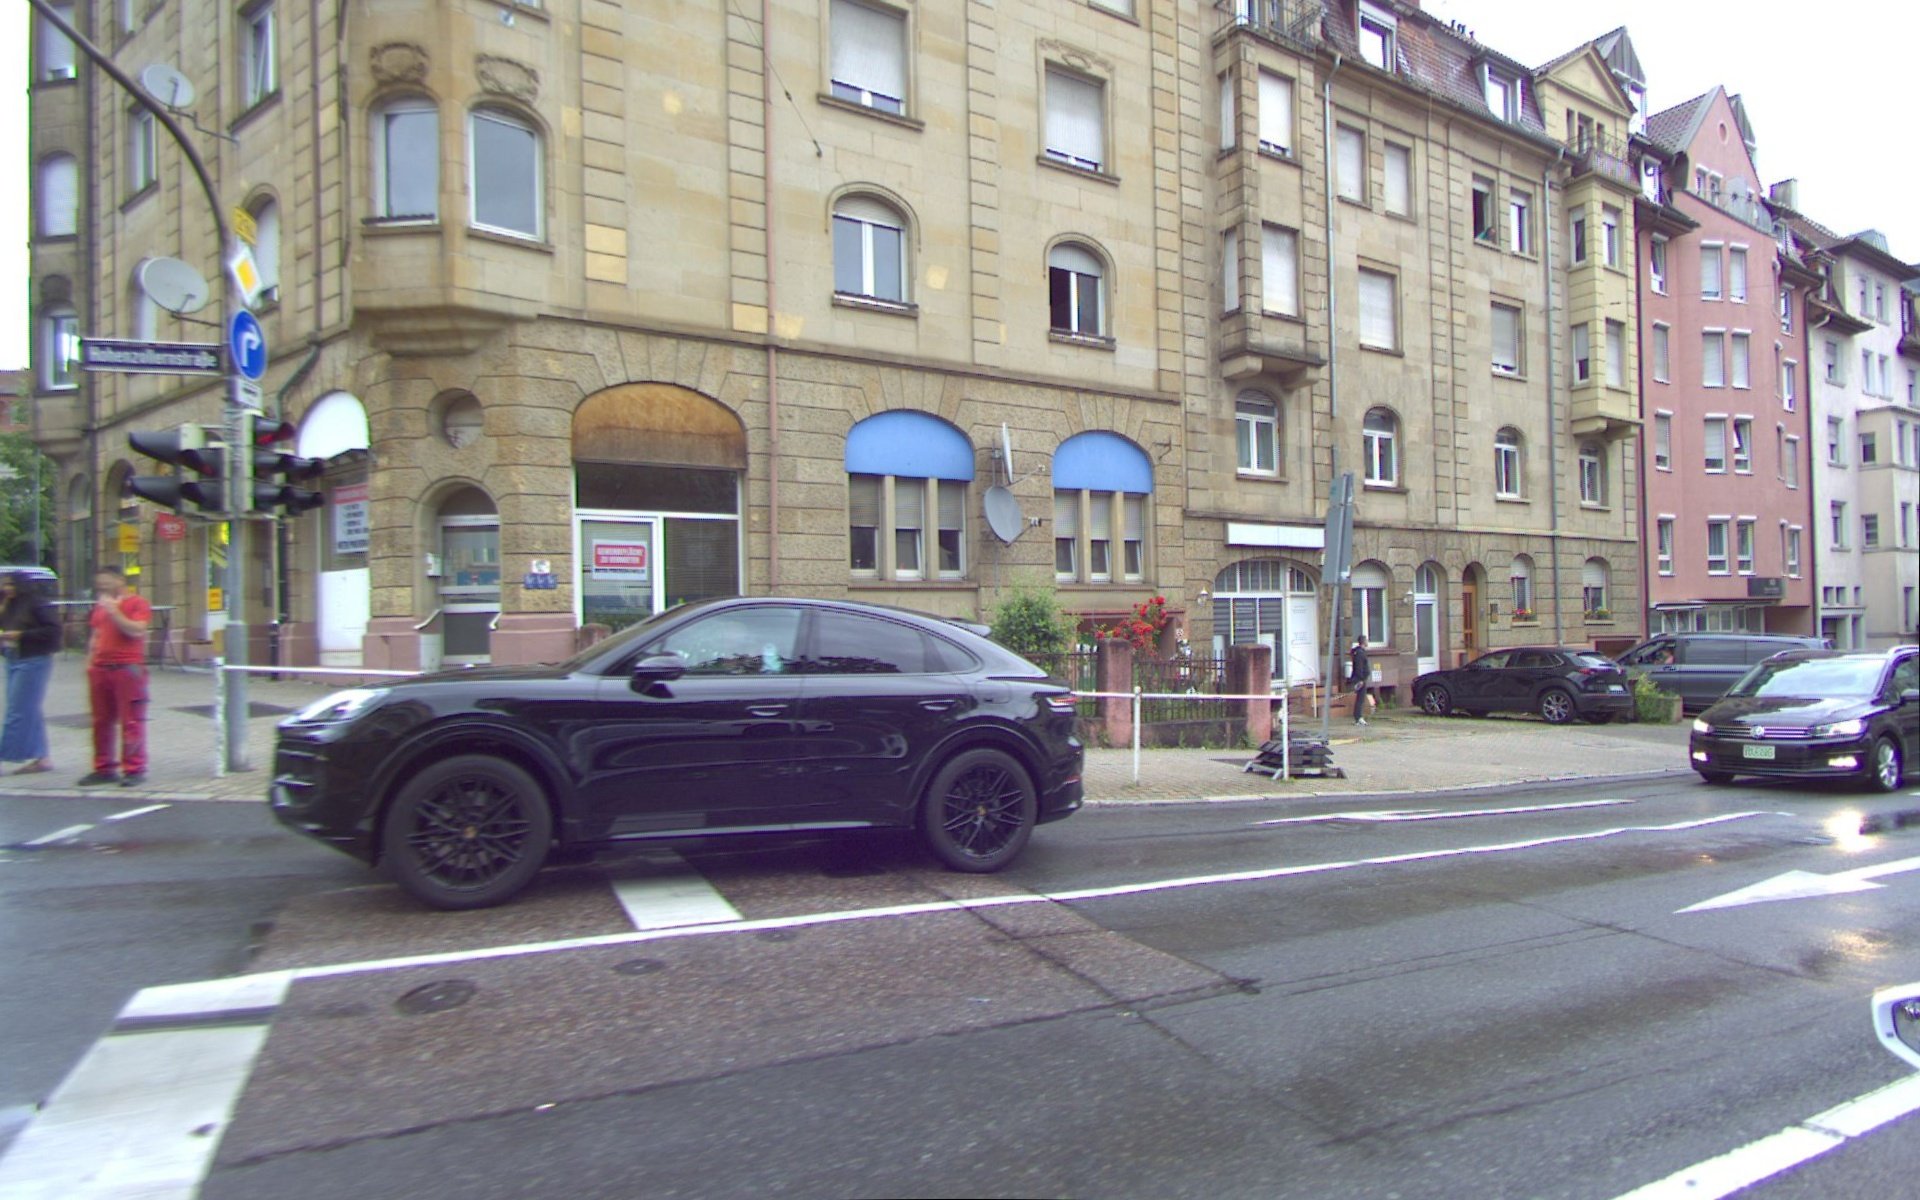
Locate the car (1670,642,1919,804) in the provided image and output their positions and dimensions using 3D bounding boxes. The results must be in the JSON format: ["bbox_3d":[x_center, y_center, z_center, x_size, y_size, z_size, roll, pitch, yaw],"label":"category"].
[{"bbox_3d":[10.743,1.419,12.255,4.367,1.670,1.614,2,-6,-30],"label":"car"}]

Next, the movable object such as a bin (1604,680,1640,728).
[{"bbox_3d":[14.075,2.206,21.364,0.435,0.963,0.503,2,-1,-26],"label":"movable object such as a bin"}]

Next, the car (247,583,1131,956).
[{"bbox_3d":[-1.449,0.912,6.484,4.740,1.715,1.961,3,-3,-23],"label":"car"}]

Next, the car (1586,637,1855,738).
[{"bbox_3d":[17.215,1.880,22.938,1.848,1.964,4.635,1,-1,-40],"label":"car"}]

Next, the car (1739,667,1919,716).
[{"bbox_3d":[27.460,2.824,31.443,1.748,1.419,4.526,2,-5,-31],"label":"car"}]

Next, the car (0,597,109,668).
[{"bbox_3d":[-24.935,0.822,26.452,1.965,1.726,4.372,1,-1,-12],"label":"car"}]

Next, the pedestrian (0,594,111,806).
[{"bbox_3d":[-7.857,0.821,8.547,0.819,1.724,0.634,1,-1,-29],"label":"pedestrian"}]

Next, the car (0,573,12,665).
[{"bbox_3d":[-23.563,0.397,21.860,1.965,2.197,4.793,1,-1,-12],"label":"car"}]

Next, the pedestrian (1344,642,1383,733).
[{"bbox_3d":[8.168,1.757,20.334,0.557,1.800,0.476,1,-1,-23],"label":"pedestrian"}]

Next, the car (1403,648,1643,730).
[{"bbox_3d":[11.911,1.818,21.522,1.852,1.530,4.127,1,-3,-31],"label":"car"}]

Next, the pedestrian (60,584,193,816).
[{"bbox_3d":[-6.753,0.783,8.173,0.684,1.797,0.521,1,-1,-25],"label":"pedestrian"}]

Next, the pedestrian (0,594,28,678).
[{"bbox_3d":[-19.529,0.727,20.400,0.776,1.683,0.663,1,-1,-37],"label":"pedestrian"}]
